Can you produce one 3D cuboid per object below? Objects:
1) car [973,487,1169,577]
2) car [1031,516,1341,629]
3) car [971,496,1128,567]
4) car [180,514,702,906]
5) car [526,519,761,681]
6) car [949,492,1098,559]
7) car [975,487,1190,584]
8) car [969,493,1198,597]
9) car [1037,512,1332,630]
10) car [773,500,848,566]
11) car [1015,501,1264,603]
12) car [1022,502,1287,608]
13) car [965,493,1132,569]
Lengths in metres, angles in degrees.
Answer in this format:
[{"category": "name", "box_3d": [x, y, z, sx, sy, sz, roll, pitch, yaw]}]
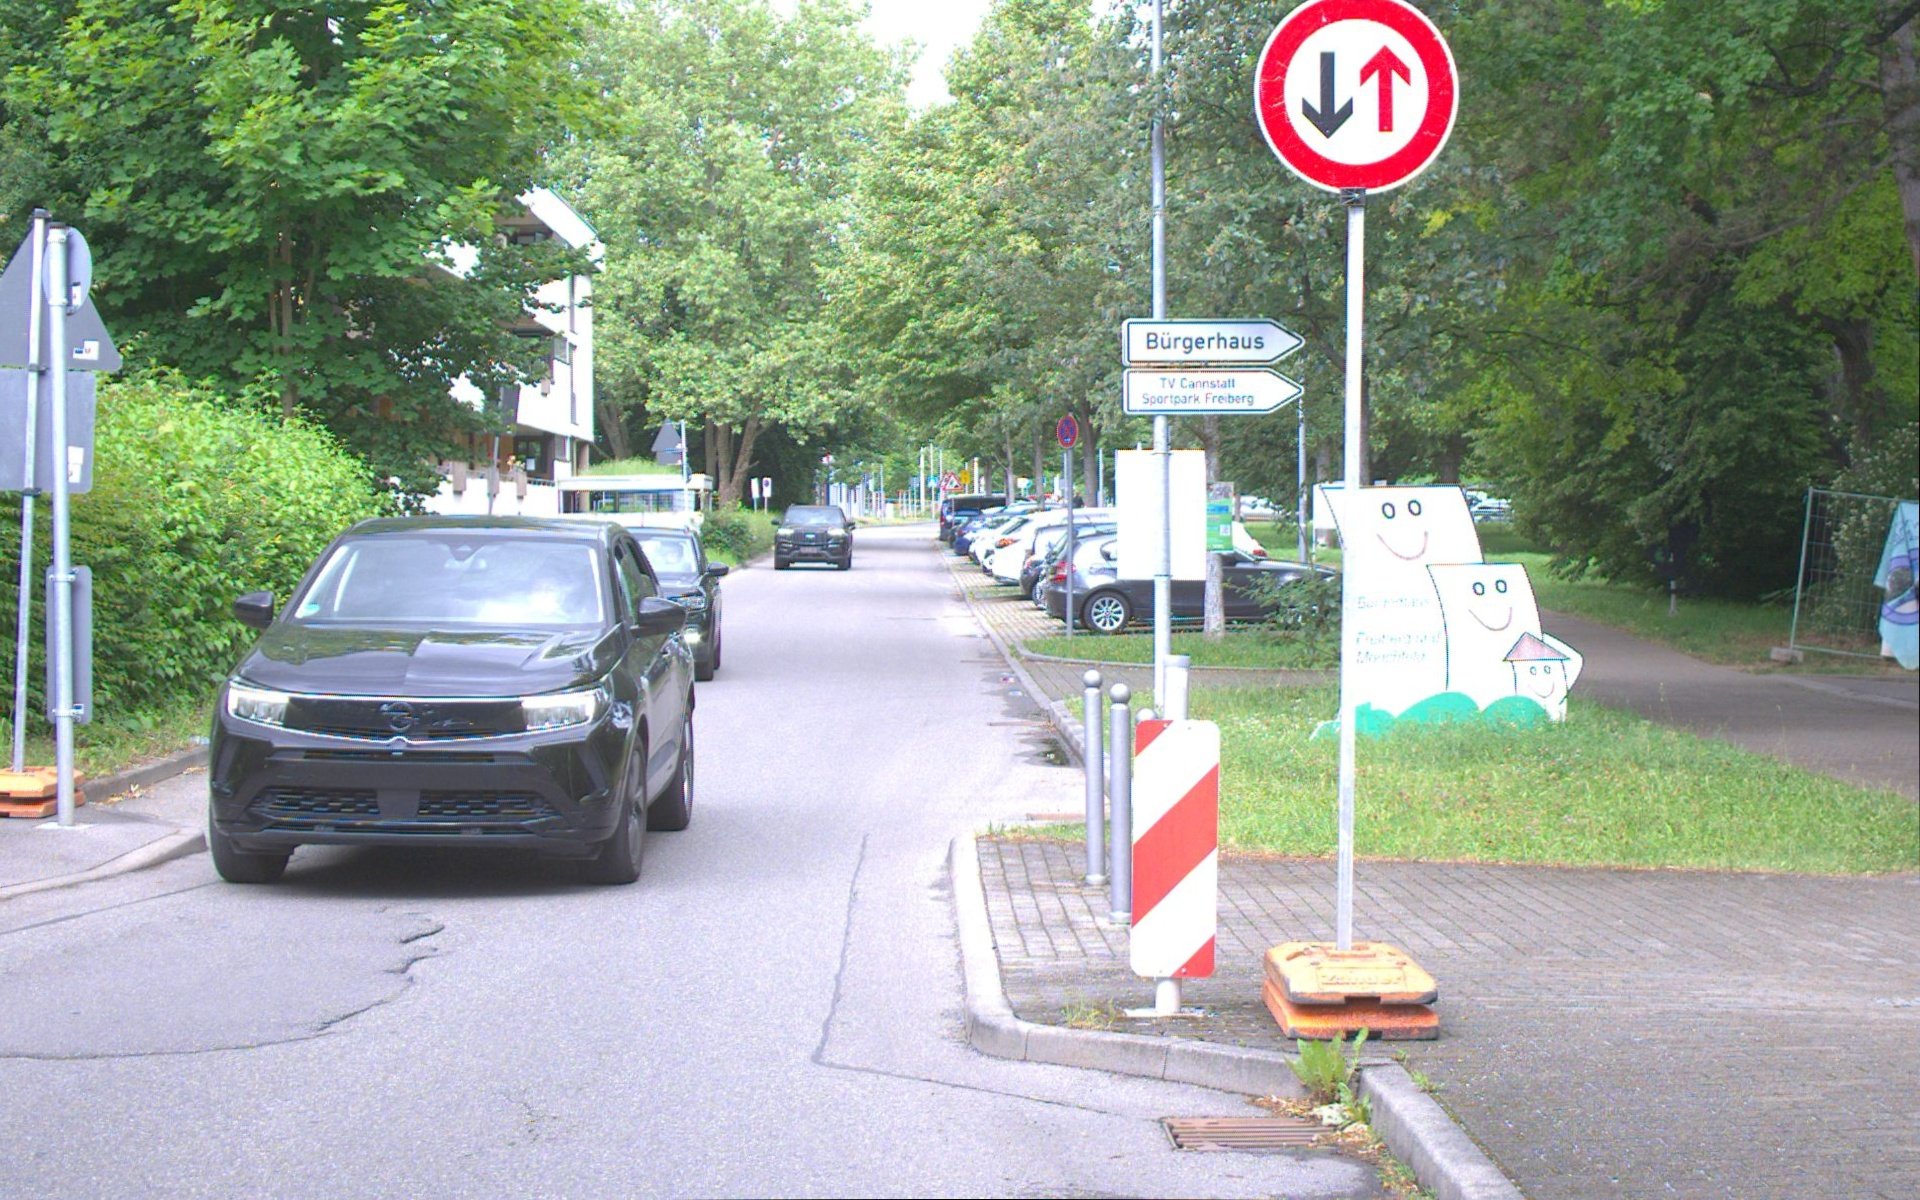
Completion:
[{"category": "car", "box_3d": [2.421, -1.501, 75.603, 4.062, 1.681, 1.823, -4, 2, -4]}, {"category": "car", "box_3d": [3.065, -0.369, 47.333, 4.063, 1.429, 2.000, -1, 0, -1]}, {"category": "car", "box_3d": [2.445, -1.884, 94.379, 4.062, 1.681, 1.823, -4, 2, -4]}, {"category": "car", "box_3d": [-2.276, 0.397, 16.138, 1.803, 1.586, 4.296, 0, 1, 0]}, {"category": "car", "box_3d": [-3.257, -0.050, 36.162, 1.803, 1.586, 4.296, 0, 1, 4]}, {"category": "car", "box_3d": [1.831, -2.154, 99.548, 4.062, 1.681, 1.823, -4, 2, -4]}, {"category": "car", "box_3d": [2.434, -1.298, 68.962, 4.062, 1.681, 1.823, -4, 2, -4]}, {"category": "car", "box_3d": [2.310, -1.045, 65.106, 4.062, 1.681, 1.823, -4, 2, -4]}, {"category": "car", "box_3d": [3.199, -0.411, 49.597, 4.063, 1.563, 1.822, -1, 0, -1]}, {"category": "car", "box_3d": [-4.019, -1.816, 93.224, 1.968, 1.741, 4.339, 0, 1, -2]}, {"category": "car", "box_3d": [3.103, -0.850, 59.869, 4.062, 1.483, 1.823, -4, 2, -4]}, {"category": "car", "box_3d": [3.075, -0.736, 54.907, 4.063, 1.563, 1.823, -1, 1, -1]}, {"category": "car", "box_3d": [2.264, -1.793, 88.565, 4.062, 1.681, 1.823, -4, 2, -4]}]
